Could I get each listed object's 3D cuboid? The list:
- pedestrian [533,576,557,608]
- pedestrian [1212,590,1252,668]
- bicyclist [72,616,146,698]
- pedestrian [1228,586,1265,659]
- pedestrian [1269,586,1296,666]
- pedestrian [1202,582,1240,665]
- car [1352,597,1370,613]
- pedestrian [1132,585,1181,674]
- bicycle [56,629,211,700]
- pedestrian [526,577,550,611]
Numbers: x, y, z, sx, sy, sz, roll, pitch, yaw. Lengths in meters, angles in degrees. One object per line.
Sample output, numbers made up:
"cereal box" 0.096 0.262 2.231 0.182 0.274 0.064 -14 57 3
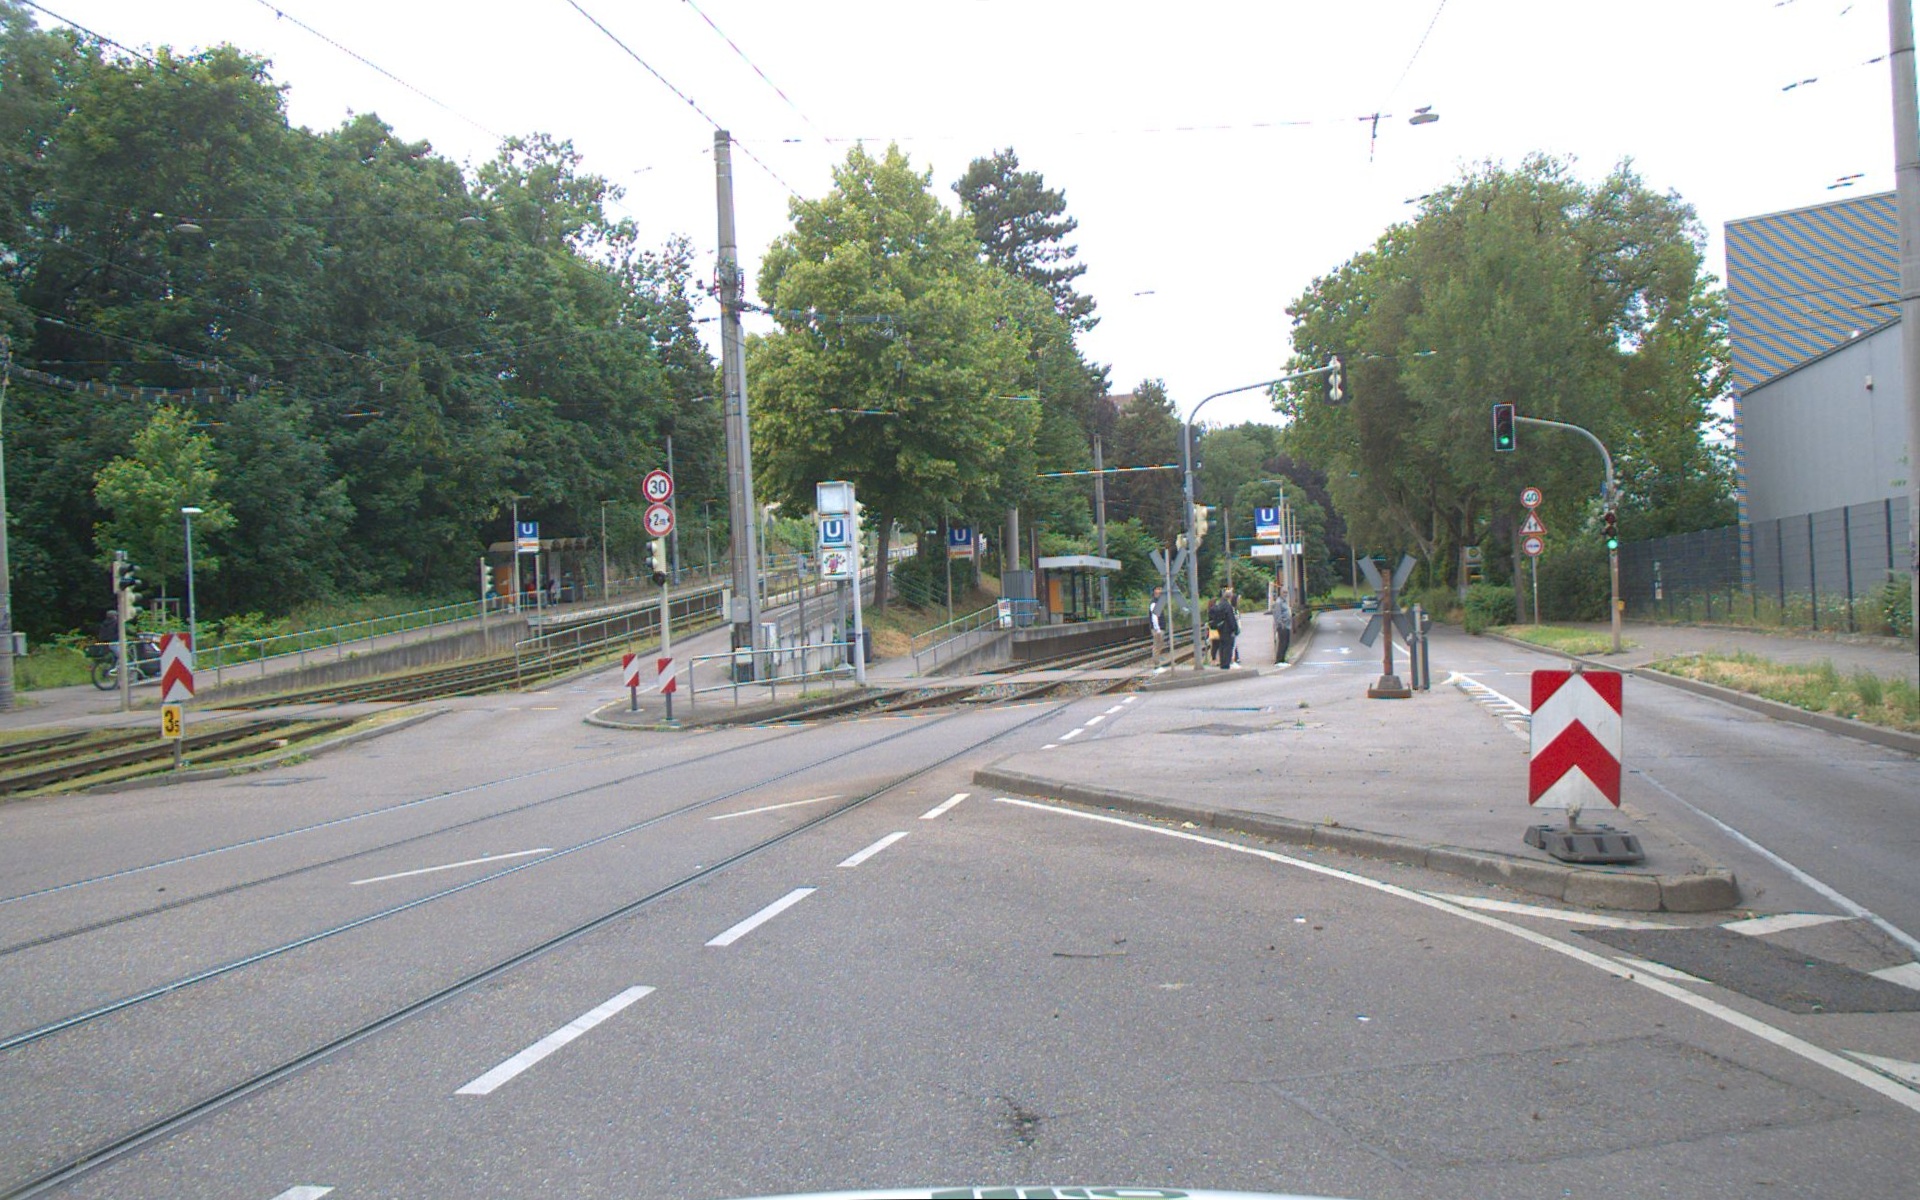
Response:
"pedestrian" -17.299 -0.336 68.967 0.755 1.349 0.787 0 0 4
"pedestrian" 6.010 0.632 36.516 0.666 1.694 0.736 0 0 28
"bicyclist" -19.690 1.302 38.301 0.720 1.740 1.289 2 4 32
"pedestrian" 6.742 0.514 38.900 0.666 1.694 0.736 0 0 29
"pedestrian" 7.340 0.590 37.643 0.538 1.789 0.738 0 0 17
"pedestrian" 5.390 0.485 34.127 0.719 1.694 0.682 0 0 14
"car" 41.723 0.539 172.177 1.706 1.627 4.003 0 0 12
"pedestrian" 4.147 0.619 34.853 0.794 1.853 0.663 0 0 -31
"bicycle" -19.362 1.479 38.845 0.720 1.311 3.339 2 4 32
"pedestrian" -17.336 -0.257 67.940 0.755 1.349 0.788 0 2 4
